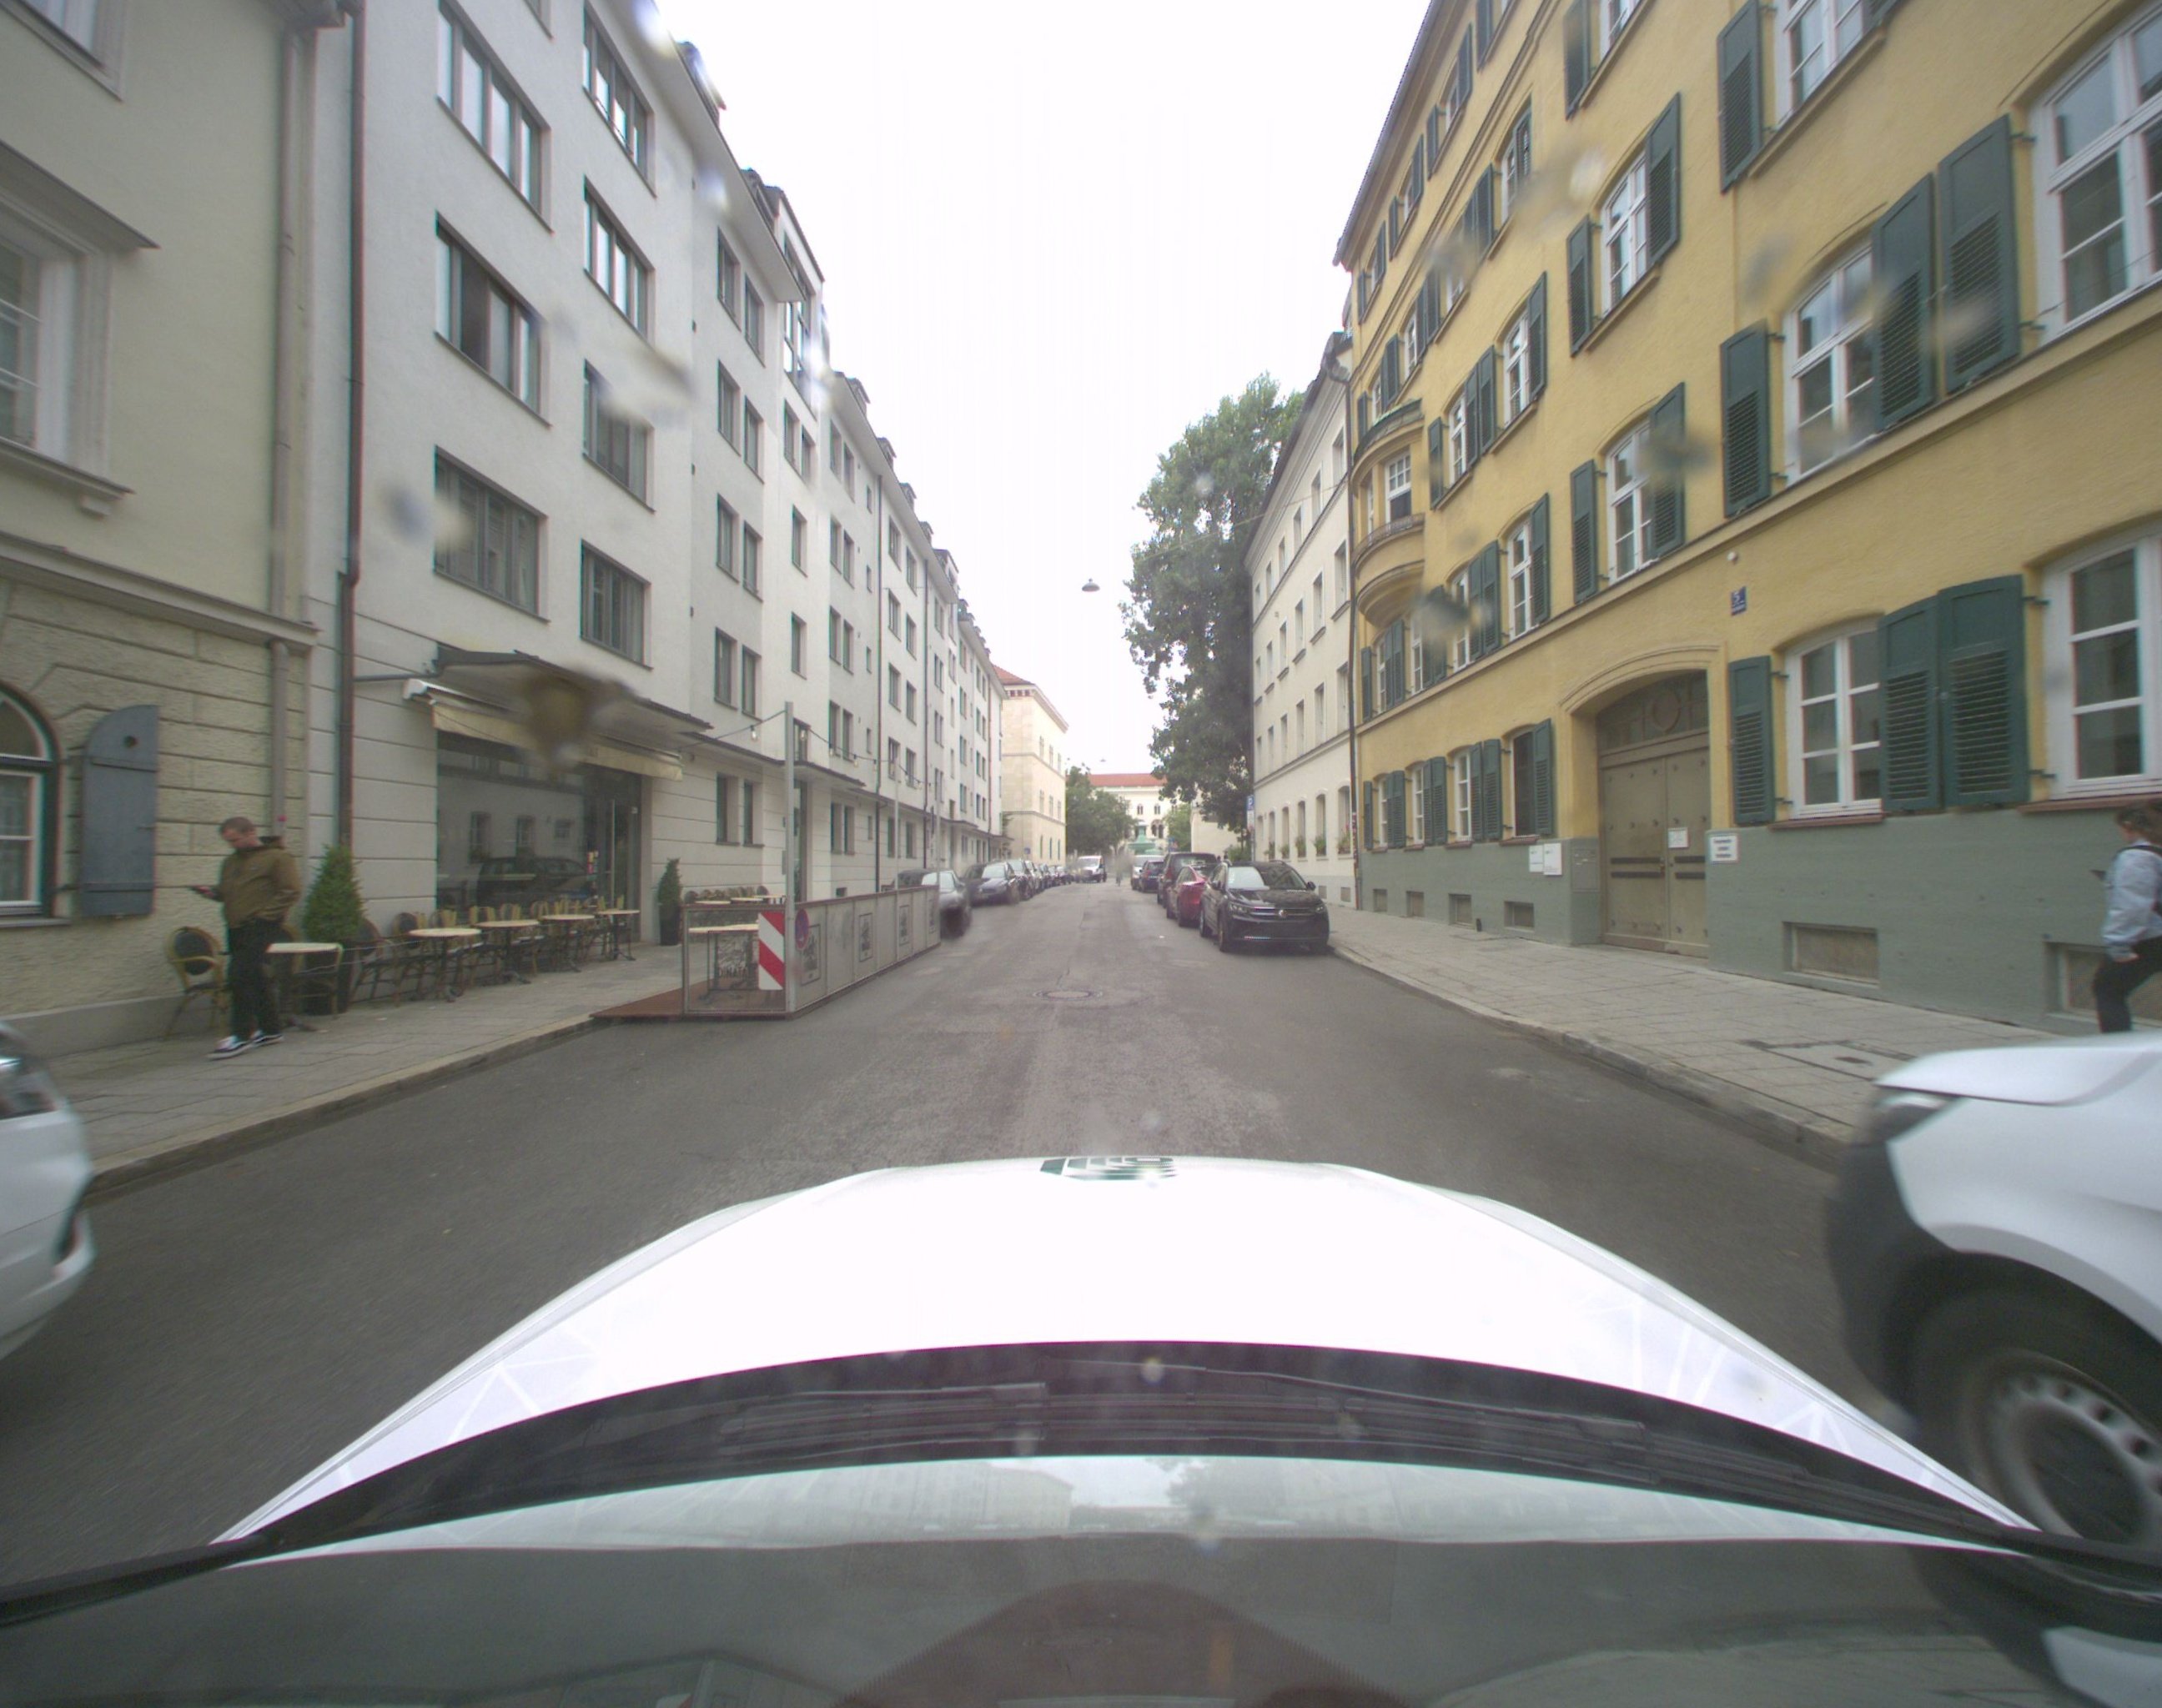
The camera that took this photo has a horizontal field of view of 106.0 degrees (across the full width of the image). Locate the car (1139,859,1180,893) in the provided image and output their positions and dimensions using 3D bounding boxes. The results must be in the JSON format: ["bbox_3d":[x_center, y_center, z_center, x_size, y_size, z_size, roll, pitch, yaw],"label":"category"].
[{"bbox_3d":[3.889,1.098,40.982,1.805,1.614,4.157,-1,-1,2],"label":"car"}]

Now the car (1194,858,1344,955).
[{"bbox_3d":[3.169,0.838,14.579,1.805,1.465,4.247,1,-1,1],"label":"car"}]

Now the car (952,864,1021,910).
[{"bbox_3d":[-3.175,1.088,28.061,1.811,1.444,3.818,-2,-1,1],"label":"car"}]

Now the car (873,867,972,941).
[{"bbox_3d":[-3.440,1.024,18.327,1.759,1.411,4.147,-2,-1,-6],"label":"car"}]

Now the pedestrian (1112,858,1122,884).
[{"bbox_3d":[2.465,1.140,55.141,0.639,1.714,0.843,-1,-2,2],"label":"pedestrian"}]

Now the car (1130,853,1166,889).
[{"bbox_3d":[3.794,0.962,46.953,1.844,1.920,4.771,-1,-1,2],"label":"car"}]

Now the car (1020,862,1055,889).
[{"bbox_3d":[-2.683,1.340,51.108,1.699,1.609,3.866,-2,-1,3],"label":"car"}]

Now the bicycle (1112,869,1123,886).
[{"bbox_3d":[2.467,1.597,55.065,0.673,1.095,1.761,-1,-2,2],"label":"bicycle"}]

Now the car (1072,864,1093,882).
[{"bbox_3d":[0.145,1.743,76.270,1.699,1.581,3.867,-2,-1,4],"label":"car"}]

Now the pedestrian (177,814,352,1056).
[{"bbox_3d":[-6.420,0.610,6.446,0.590,1.795,0.740,-1,-2,0],"label":"pedestrian"}]

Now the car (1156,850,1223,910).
[{"bbox_3d":[3.512,0.828,27.016,1.805,1.797,4.248,1,-1,2],"label":"car"}]

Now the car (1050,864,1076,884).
[{"bbox_3d":[-1.465,1.625,67.719,1.699,1.581,3.867,-2,-1,4],"label":"car"}]

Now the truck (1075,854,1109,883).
[{"bbox_3d":[0.962,1.251,68.592,2.109,2.247,6.197,-1,-2,7],"label":"truck"}]

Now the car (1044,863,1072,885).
[{"bbox_3d":[-1.692,1.497,61.780,1.699,1.609,3.867,-2,-1,4],"label":"car"}]

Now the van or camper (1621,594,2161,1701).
[{"bbox_3d":[2.701,0.482,0.250,1.827,1.872,5.081,0,-1,2],"label":"van or camper"}]

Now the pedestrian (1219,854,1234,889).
[{"bbox_3d":[8.343,1.019,46.694,0.667,1.980,0.709,-4,-2,2],"label":"pedestrian"}]

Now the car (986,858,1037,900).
[{"bbox_3d":[-2.822,1.010,33.799,1.701,1.609,3.863,-2,-1,1],"label":"car"}]

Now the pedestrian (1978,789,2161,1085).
[{"bbox_3d":[5.937,0.439,4.707,0.658,1.571,0.642,-4,-2,1],"label":"pedestrian"}]

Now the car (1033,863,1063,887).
[{"bbox_3d":[-2.254,1.436,56.658,1.699,1.609,3.866,-2,-1,3],"label":"car"}]

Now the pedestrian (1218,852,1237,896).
[{"bbox_3d":[6.836,0.945,37.963,0.667,1.980,0.709,-4,-2,2],"label":"pedestrian"}]

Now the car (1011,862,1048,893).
[{"bbox_3d":[-2.804,1.283,45.050,1.701,1.609,3.863,-2,-1,1],"label":"car"}]

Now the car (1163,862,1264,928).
[{"bbox_3d":[3.120,0.934,19.992,1.806,1.425,4.246,1,-1,0],"label":"car"}]

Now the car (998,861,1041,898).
[{"bbox_3d":[-2.903,1.184,39.098,1.701,1.609,3.863,-2,-1,1],"label":"car"}]
